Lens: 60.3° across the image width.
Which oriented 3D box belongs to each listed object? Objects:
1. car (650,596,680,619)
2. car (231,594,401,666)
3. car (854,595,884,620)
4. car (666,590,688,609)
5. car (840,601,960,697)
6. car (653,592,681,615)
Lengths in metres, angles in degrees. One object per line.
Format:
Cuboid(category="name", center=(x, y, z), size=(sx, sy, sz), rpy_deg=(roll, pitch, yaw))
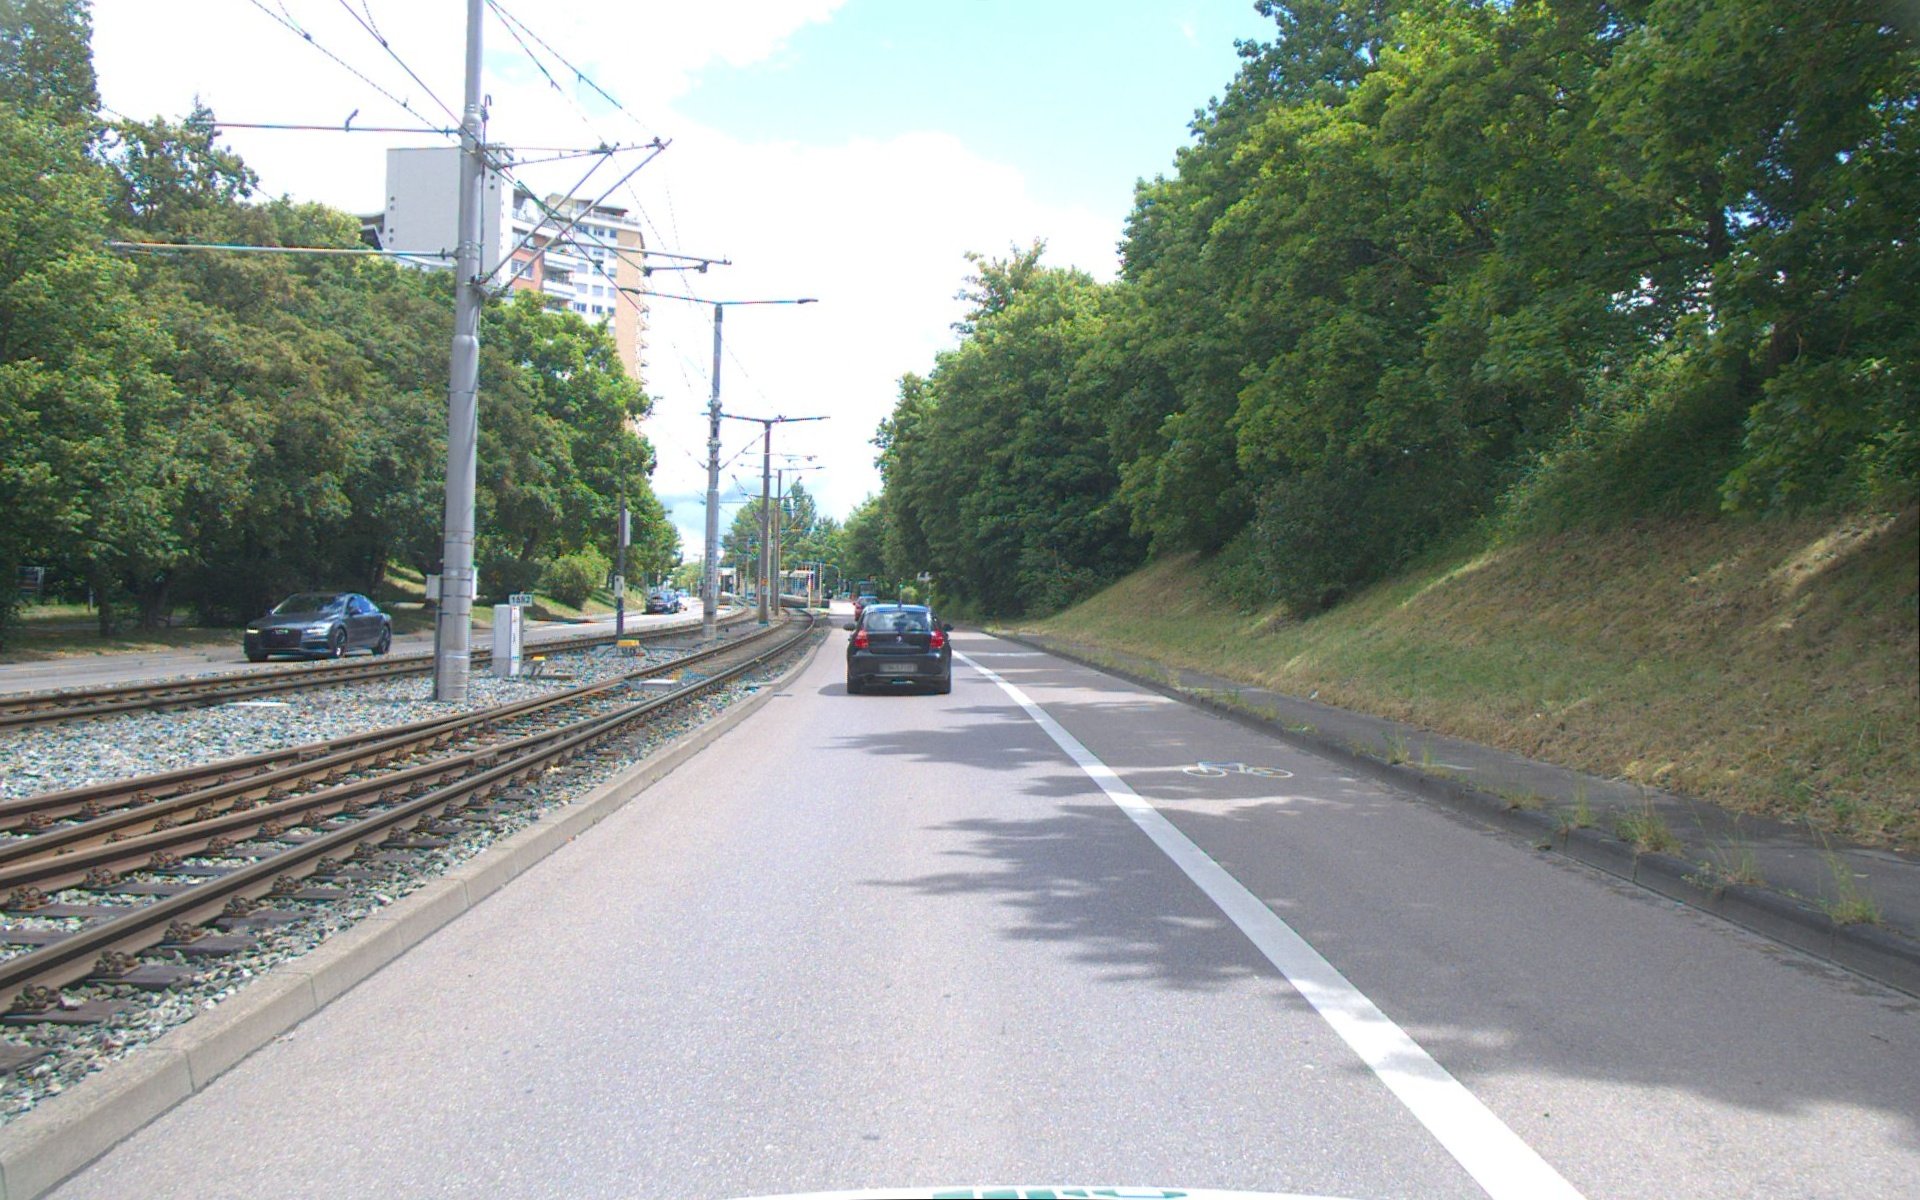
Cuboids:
Cuboid(category="car", center=(-20.176, 0.478, 113.269), size=(1.740, 1.525, 3.991), rpy_deg=(1, 0, -7))
Cuboid(category="car", center=(-13.785, 0.597, 35.714), size=(1.798, 1.415, 4.861), rpy_deg=(-1, 0, -1))
Cuboid(category="car", center=(-5.489, 0.454, 99.496), size=(1.746, 1.485, 3.918), rpy_deg=(1, 0, -4))
Cuboid(category="car", center=(-23.491, -0.014, 137.353), size=(1.749, 1.559, 4.235), rpy_deg=(0, 0, -10))
Cuboid(category="car", center=(-1.073, 0.761, 27.690), size=(1.747, 1.485, 3.916), rpy_deg=(0, 0, -6))
Cuboid(category="car", center=(-21.253, 0.281, 120.015), size=(1.740, 1.658, 4.375), rpy_deg=(0, -1, -7))
